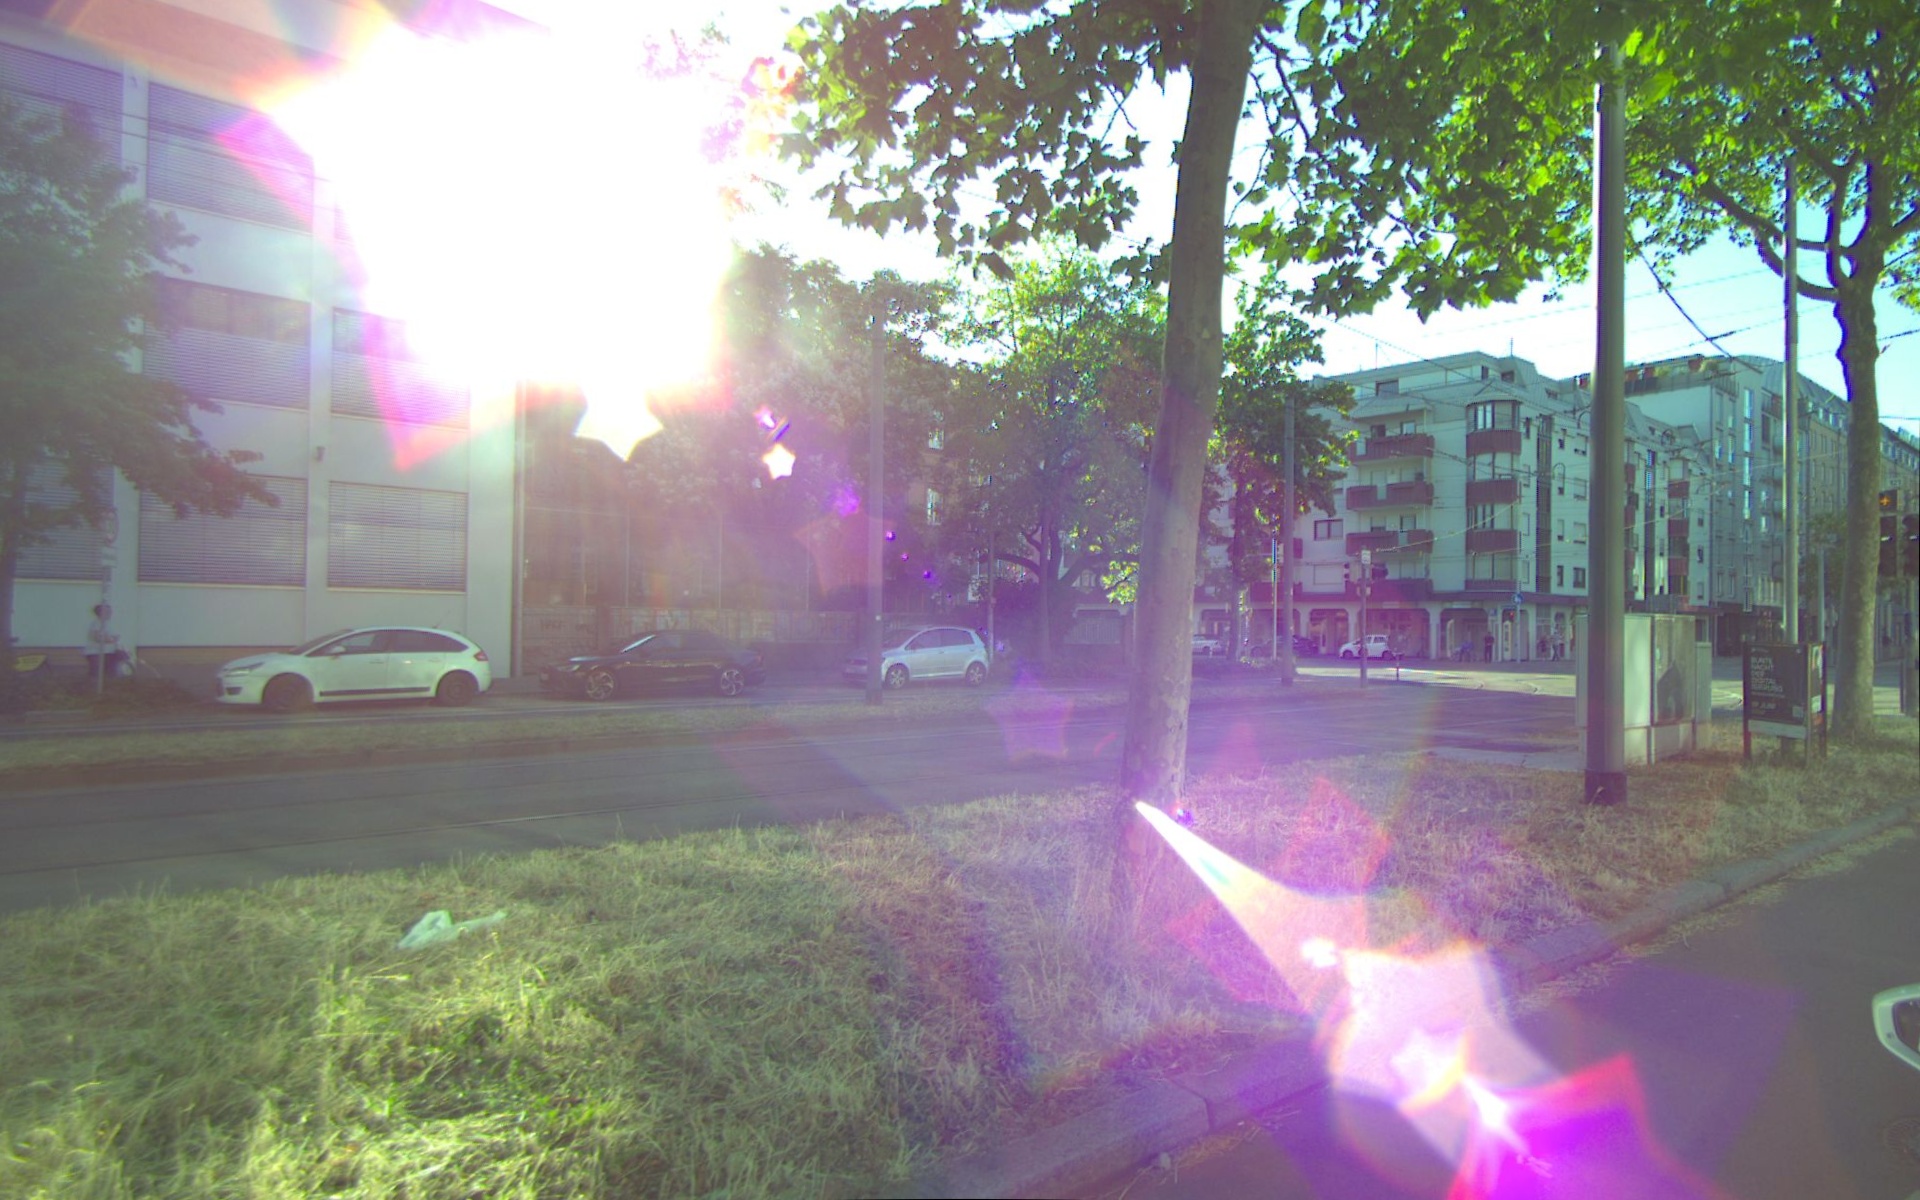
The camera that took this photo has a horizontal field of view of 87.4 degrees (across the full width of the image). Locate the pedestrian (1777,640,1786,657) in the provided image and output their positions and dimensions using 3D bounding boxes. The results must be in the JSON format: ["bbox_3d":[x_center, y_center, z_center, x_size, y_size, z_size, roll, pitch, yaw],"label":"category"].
[{"bbox_3d":[68.765,4.059,84.076,0.523,1.478,0.506,2,-2,-38],"label":"pedestrian"}]

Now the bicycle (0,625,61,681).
[{"bbox_3d":[-17.233,0.965,18.471,1.010,1.015,0.300,2,-2,-39],"label":"bicycle"}]

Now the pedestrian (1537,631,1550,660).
[{"bbox_3d":[34.122,2.660,58.761,0.523,1.721,0.506,2,-2,-38],"label":"pedestrian"}]

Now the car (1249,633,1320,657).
[{"bbox_3d":[20.599,2.850,63.783,3.942,1.483,1.792,-2,-3,42],"label":"car"}]

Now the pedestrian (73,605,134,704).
[{"bbox_3d":[-14.576,0.914,17.107,0.725,1.642,0.630,2,-1,-39],"label":"pedestrian"}]

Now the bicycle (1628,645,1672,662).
[{"bbox_3d":[41.597,3.226,60.566,0.488,0.963,2.152,2,-2,-39],"label":"bicycle"}]

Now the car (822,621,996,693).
[{"bbox_3d":[-1.273,1.433,25.994,4.143,1.711,1.978,2,-2,-39],"label":"car"}]

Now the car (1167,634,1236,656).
[{"bbox_3d":[16.376,3.052,68.187,4.213,1.483,1.791,-2,-3,44],"label":"car"}]

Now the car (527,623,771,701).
[{"bbox_3d":[-6.581,1.268,21.517,4.610,1.495,1.978,2,-2,-39],"label":"car"}]

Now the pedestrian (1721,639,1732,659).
[{"bbox_3d":[58.667,3.747,76.890,0.522,1.478,0.508,1,-2,-31],"label":"pedestrian"}]

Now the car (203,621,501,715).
[{"bbox_3d":[-10.871,1.145,18.099,4.368,1.490,1.978,2,-2,-39],"label":"car"}]

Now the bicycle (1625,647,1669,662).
[{"bbox_3d":[41.116,3.257,60.143,0.523,0.835,2.152,2,-2,-39],"label":"bicycle"}]

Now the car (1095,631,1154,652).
[{"bbox_3d":[11.913,3.012,73.008,3.945,1.483,1.791,-2,-3,44],"label":"car"}]

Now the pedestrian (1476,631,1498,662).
[{"bbox_3d":[28.763,2.548,54.832,1.026,1.684,0.702,2,-2,-41],"label":"pedestrian"}]

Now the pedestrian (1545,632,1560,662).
[{"bbox_3d":[34.257,2.689,58.073,0.519,1.721,0.511,1,-2,-13],"label":"pedestrian"}]

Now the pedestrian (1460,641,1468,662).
[{"bbox_3d":[28.778,2.926,57.297,0.316,1.230,0.301,2,-2,-42],"label":"pedestrian"}]

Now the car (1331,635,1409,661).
[{"bbox_3d":[24.516,2.864,60.165,3.943,1.483,1.792,-2,-3,42],"label":"car"}]
